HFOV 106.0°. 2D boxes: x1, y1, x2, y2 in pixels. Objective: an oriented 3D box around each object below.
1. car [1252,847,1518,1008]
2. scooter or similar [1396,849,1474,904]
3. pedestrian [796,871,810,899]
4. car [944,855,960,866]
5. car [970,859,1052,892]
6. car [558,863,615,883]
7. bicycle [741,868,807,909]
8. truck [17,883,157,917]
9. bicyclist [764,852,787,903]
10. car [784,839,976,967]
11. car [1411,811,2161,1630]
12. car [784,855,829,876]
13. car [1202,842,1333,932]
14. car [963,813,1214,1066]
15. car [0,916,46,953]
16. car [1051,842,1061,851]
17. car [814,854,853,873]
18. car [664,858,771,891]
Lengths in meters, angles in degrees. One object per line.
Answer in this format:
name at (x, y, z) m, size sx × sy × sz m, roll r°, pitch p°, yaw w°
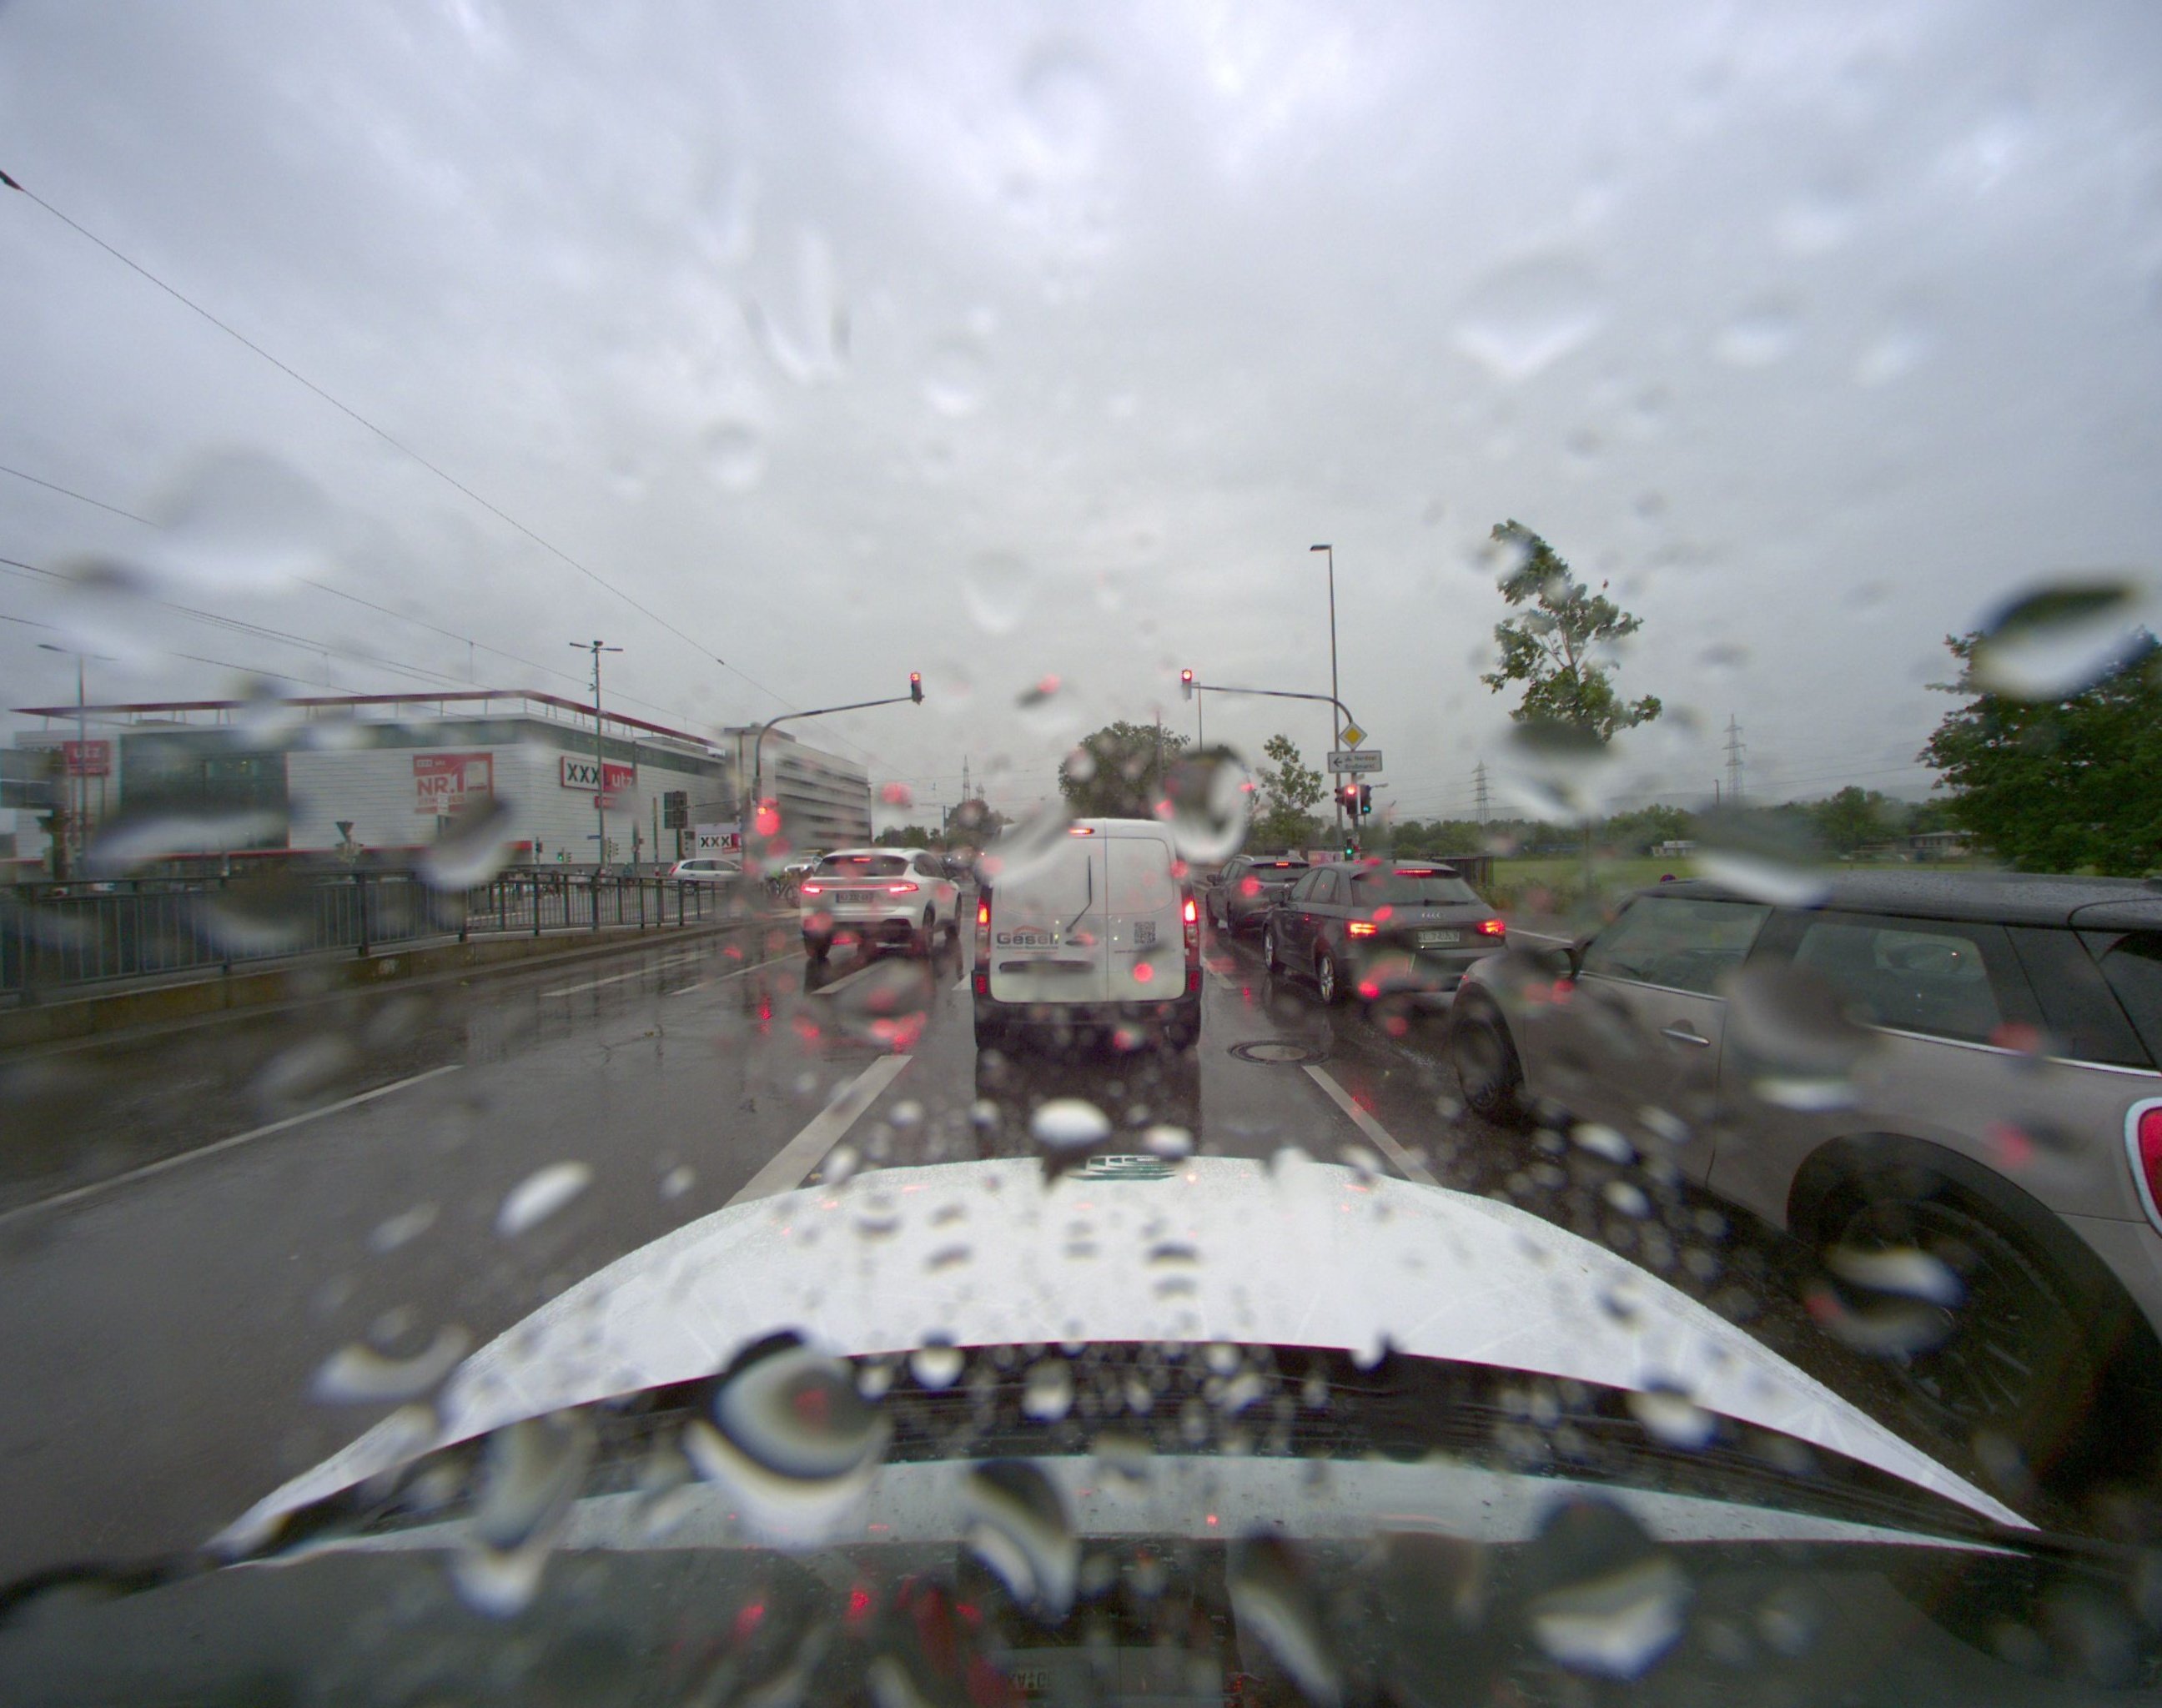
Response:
car at (3.079, 0.693, 9.041) m, size 1.592 × 1.366 × 3.631 m, roll -2°, pitch -1°, yaw 1°
scooter or similar at (8.520, 0.494, 19.766) m, size 0.687 × 1.211 × 3.022 m, roll -2°, pitch 0°, yaw 3°
pedestrian at (-8.829, 0.983, 25.875) m, size 0.314 × 0.897 × 0.380 m, roll 1°, pitch 0°, yaw -1°
car at (-17.903, 0.897, 113.412) m, size 1.554 × 1.426 × 3.570 m, roll 1°, pitch -1°, yaw 2°
car at (-3.364, 1.014, 39.553) m, size 3.764 × 1.507 × 1.631 m, roll 1°, pitch -1°, yaw -43°
car at (-34.134, 1.296, 56.291) m, size 1.473 × 1.354 × 3.810 m, roll 1°, pitch -1°, yaw 2°
bicycle at (-8.959, 0.998, 23.776) m, size 1.762 × 1.137 × 0.516 m, roll 0°, pitch -1°, yaw -25°
truck at (-60.348, 2.765, 49.515) m, size 5.859 × 1.942 × 2.012 m, roll 1°, pitch -1°, yaw 0°
bicyclist at (-8.944, 0.676, 23.853) m, size 0.606 × 1.491 × 0.595 m, roll 0°, pitch -1°, yaw -23°
car at (-3.113, 0.691, 13.708) m, size 1.923 × 1.775 × 4.665 m, roll 0°, pitch 0°, yaw 2°
car at (2.915, 0.699, 3.271) m, size 1.696 × 1.508 × 3.881 m, roll 1°, pitch 0°, yaw 2°
car at (-19.432, 0.804, 57.813) m, size 1.704 × 1.426 × 3.810 m, roll 1°, pitch -1°, yaw 2°
car at (3.405, 0.560, 15.575) m, size 1.678 × 1.508 × 3.921 m, roll 0°, pitch 0°, yaw 1°
car at (0.006, 0.572, 7.813) m, size 1.749 × 1.750 × 4.166 m, roll -1°, pitch 1°, yaw -2°
car at (-45.224, 3.270, 33.172) m, size 4.037 × 1.376 × 1.607 m, roll 1°, pitch -1°, yaw 0°
car at (-5.221, -1.622, 170.947) m, size 1.942 × 1.662 × 4.461 m, roll 1°, pitch -1°, yaw -1°
car at (-19.335, 0.767, 63.721) m, size 1.704 × 1.426 × 3.810 m, roll 1°, pitch -1°, yaw 2°
car at (-16.258, 0.909, 36.509) m, size 4.263 × 1.428 × 1.635 m, roll 1°, pitch -1°, yaw -29°
